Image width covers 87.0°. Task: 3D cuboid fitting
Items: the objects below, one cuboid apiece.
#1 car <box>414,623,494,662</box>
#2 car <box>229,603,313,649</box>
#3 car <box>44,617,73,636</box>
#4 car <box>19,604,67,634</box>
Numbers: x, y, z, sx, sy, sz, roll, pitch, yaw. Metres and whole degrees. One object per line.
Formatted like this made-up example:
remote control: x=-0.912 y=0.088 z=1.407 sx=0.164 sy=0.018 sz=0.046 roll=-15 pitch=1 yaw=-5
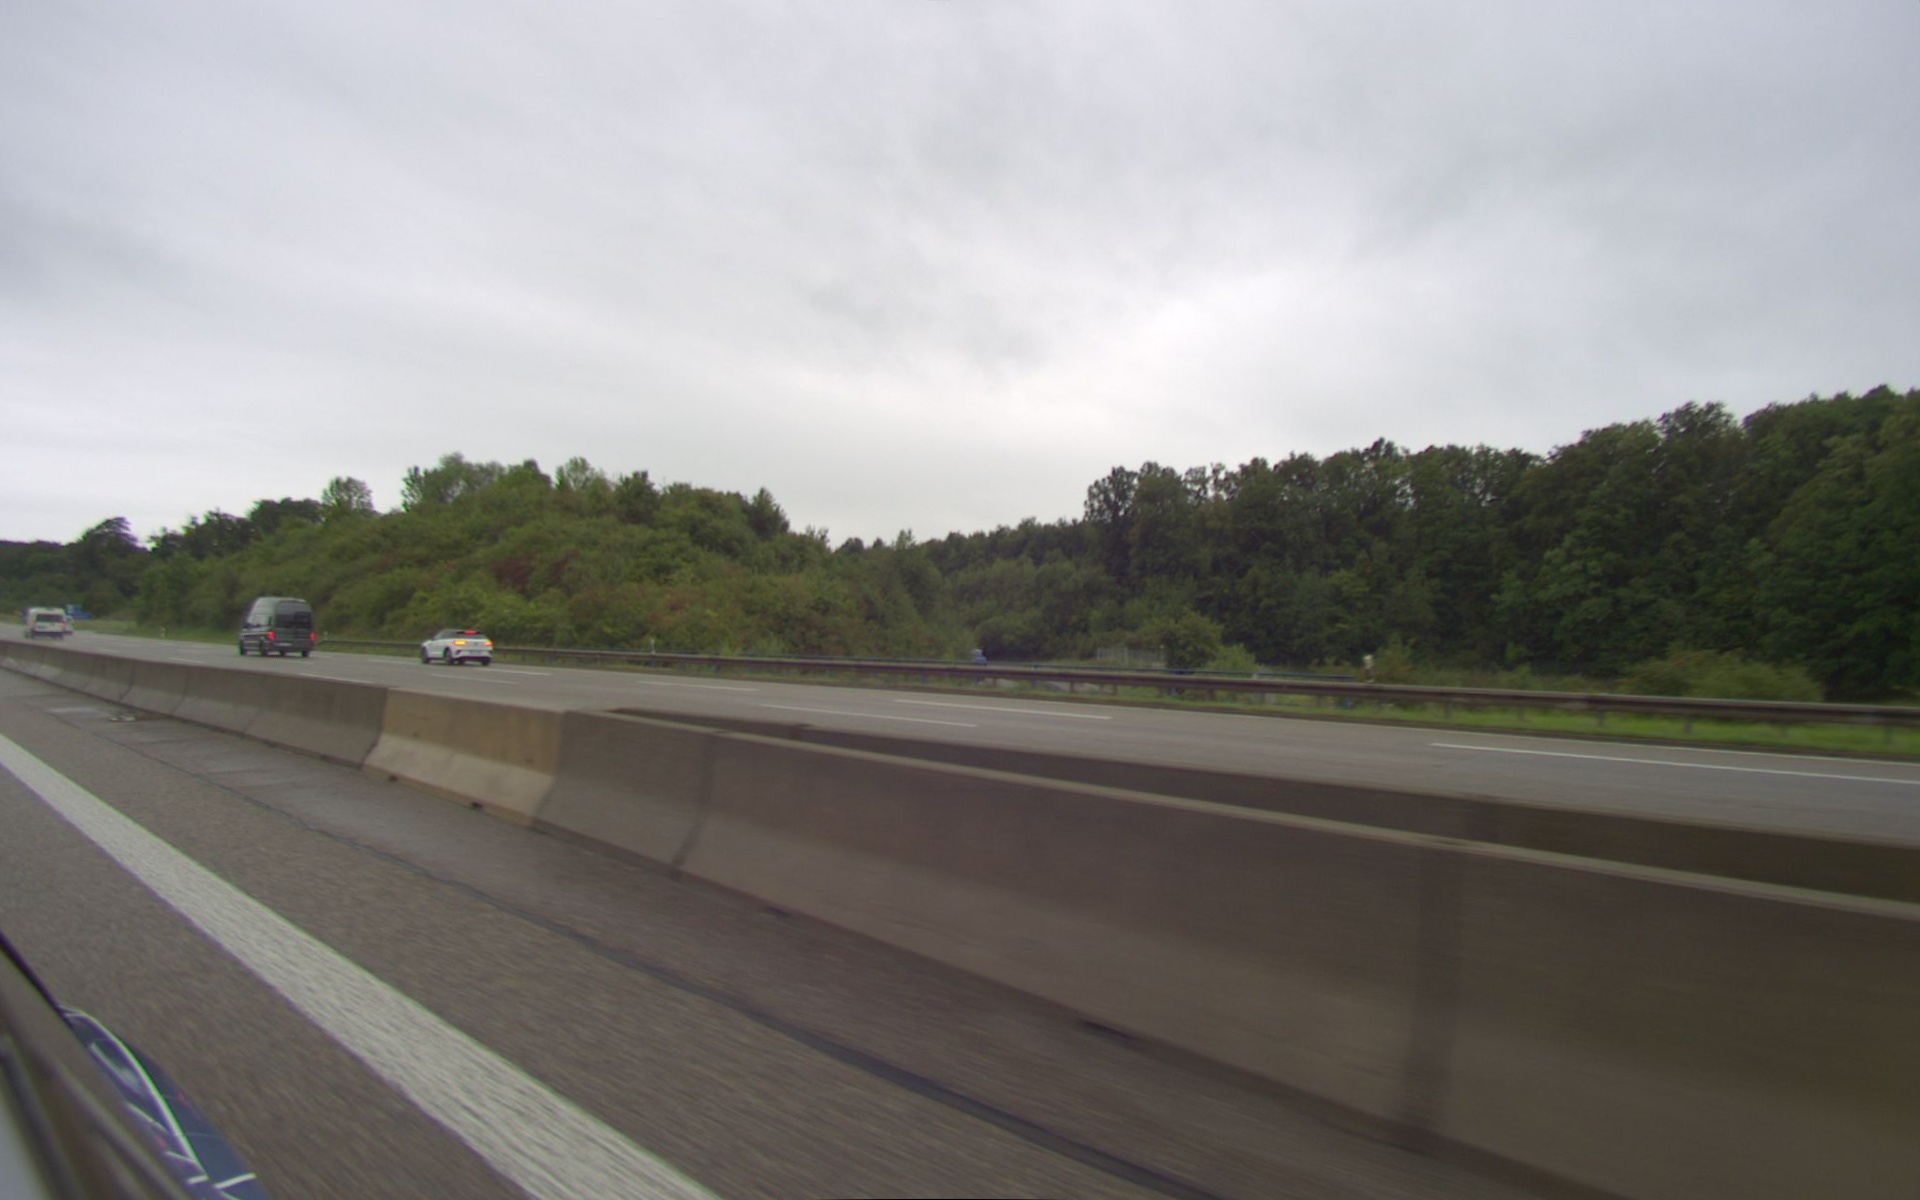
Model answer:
car: x=-22.277 y=1.831 z=44.487 sx=4.143 sy=1.597 sz=1.697 roll=-1 pitch=-2 yaw=42
car: x=-34.979 y=1.319 z=51.303 sx=6.414 sy=2.184 sz=1.972 roll=-1 pitch=-2 yaw=42
car: x=-93.574 y=2.717 z=105.047 sx=4.529 sy=1.919 sz=1.723 roll=-1 pitch=-3 yaw=42
car: x=-75.049 y=1.576 z=82.756 sx=6.173 sy=2.349 sz=2.252 roll=-2 pitch=-3 yaw=42
